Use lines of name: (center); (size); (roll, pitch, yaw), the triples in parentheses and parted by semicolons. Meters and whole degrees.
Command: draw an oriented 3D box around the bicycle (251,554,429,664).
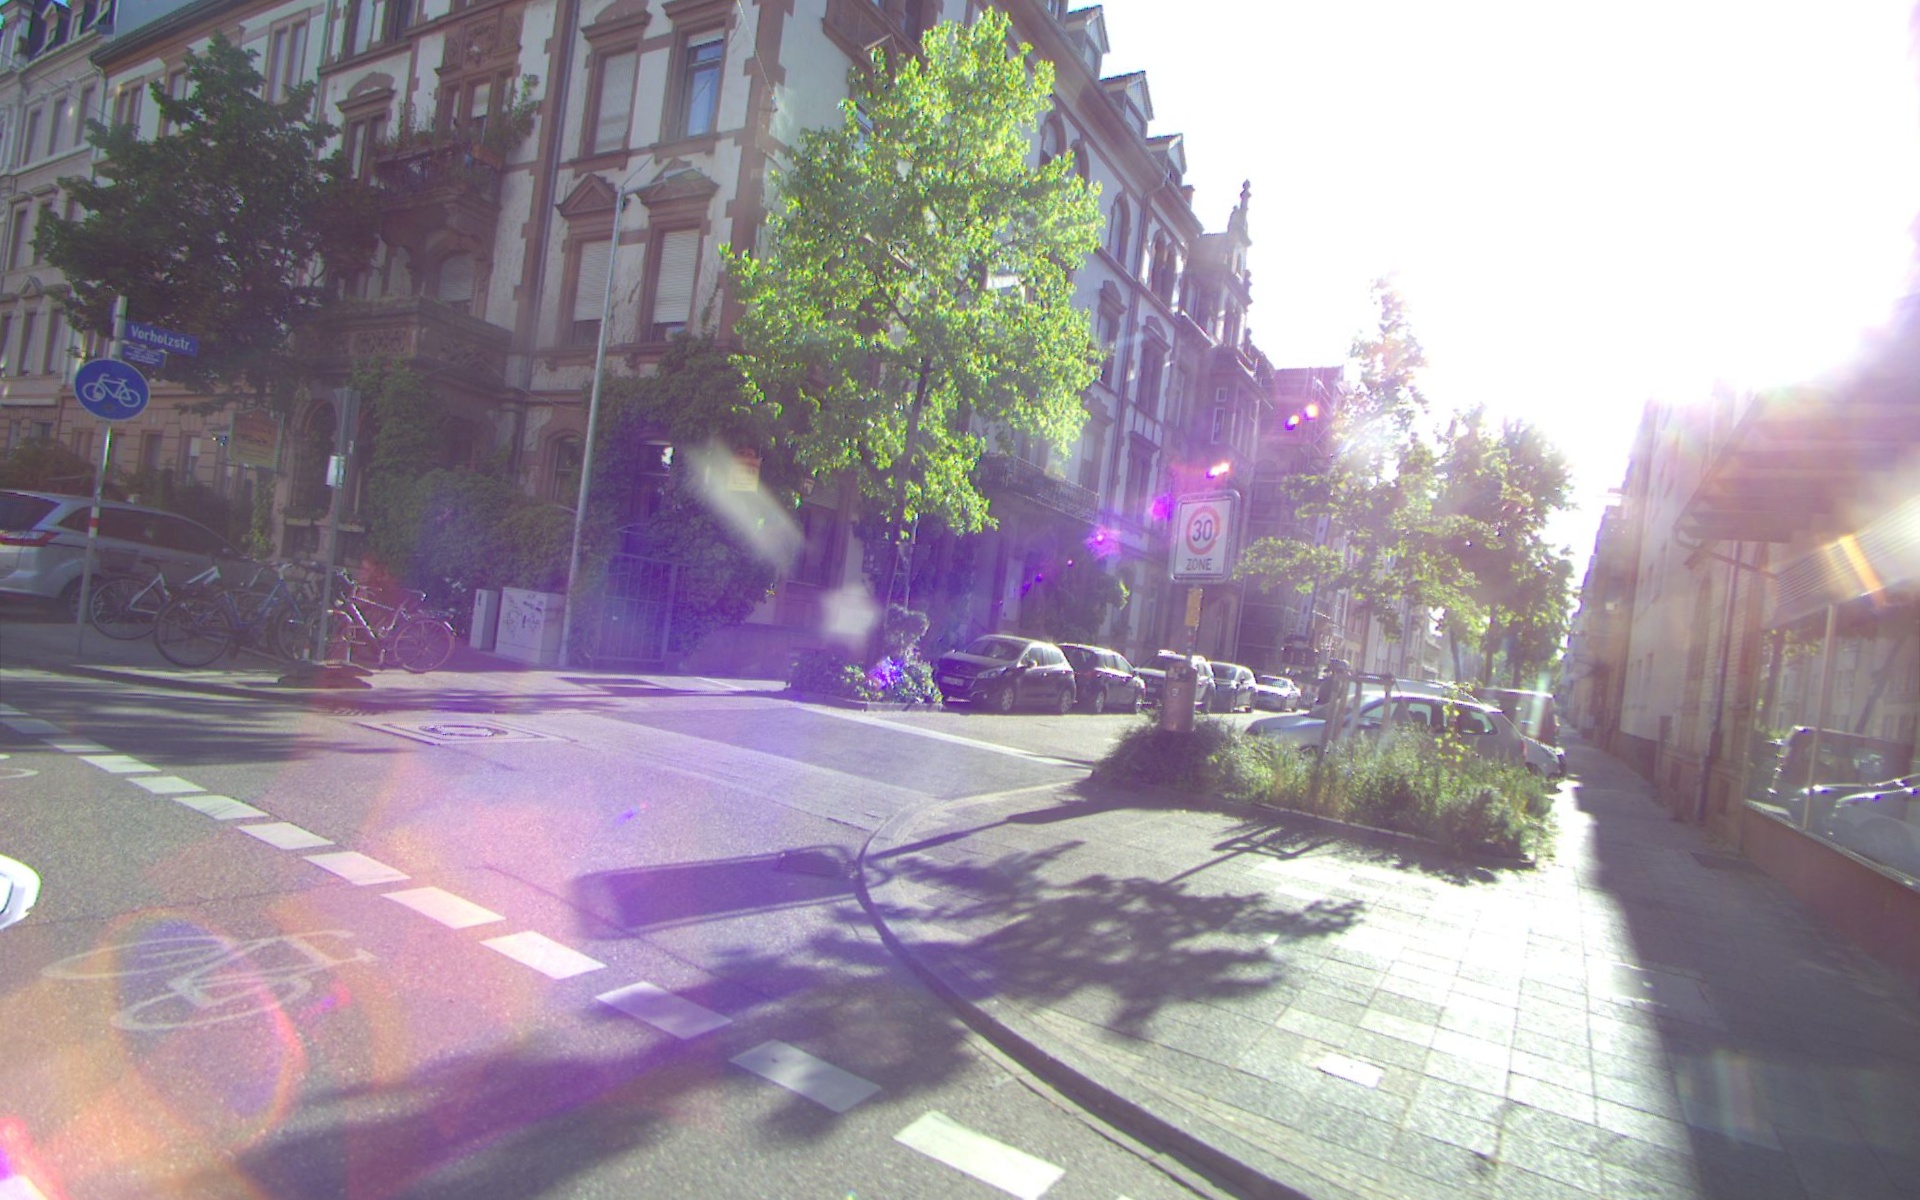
bicycle: (-7.592, 0.141, 12.390); (0.543, 1.140, 1.675); (6, -2, 37)

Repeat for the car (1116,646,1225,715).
car: (6.133, 2.358, 28.977); (1.684, 1.590, 3.995); (6, -3, 32)

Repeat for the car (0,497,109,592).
car: (-18.684, -1.219, 18.453); (2.006, 1.614, 4.338); (7, -2, 7)

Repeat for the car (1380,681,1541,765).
car: (14.656, 3.587, 29.713); (3.882, 1.815, 1.774); (7, -2, 20)

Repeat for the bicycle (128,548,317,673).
bicycle: (-7.721, 0.140, 10.594); (0.542, 1.140, 1.400); (7, -2, 31)

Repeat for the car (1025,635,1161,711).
car: (3.333, 1.839, 24.600); (1.684, 1.469, 3.995); (6, -3, 32)

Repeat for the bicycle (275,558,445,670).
bicycle: (-7.140, 0.195, 12.039); (0.520, 1.140, 1.557); (6, -2, 37)

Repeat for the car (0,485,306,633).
car: (-11.786, -0.509, 14.126); (1.818, 1.614, 4.372); (7, -2, 7)

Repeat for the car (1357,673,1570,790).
car: (11.101, 2.861, 22.493); (3.882, 1.917, 1.774); (7, -2, 20)

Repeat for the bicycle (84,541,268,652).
bicycle: (-9.055, -0.010, 11.678); (0.302, 1.091, 1.557); (6, -2, 37)

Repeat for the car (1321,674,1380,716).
car: (19.228, 4.679, 49.448); (1.685, 1.772, 3.992); (7, -1, 34)

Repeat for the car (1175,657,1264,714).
car: (8.760, 2.893, 33.753); (1.684, 1.590, 3.995); (4, -4, 32)

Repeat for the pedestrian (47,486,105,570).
pedestrian: (-18.747, -1.519, 21.334); (0.849, 1.667, 0.519); (7, -1, 32)

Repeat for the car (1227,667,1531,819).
car: (5.860, 1.976, 14.386); (3.466, 1.550, 1.774); (8, -2, 0)

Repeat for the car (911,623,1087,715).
car: (0.904, 1.456, 20.459); (1.684, 1.469, 3.995); (6, -3, 32)

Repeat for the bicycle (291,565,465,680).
bicycle: (-6.720, 0.284, 11.681); (0.543, 1.140, 1.557); (6, -2, 37)

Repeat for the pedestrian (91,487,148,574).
pedestrian: (-18.335, -1.518, 21.945); (0.849, 1.798, 0.519); (7, -1, 32)

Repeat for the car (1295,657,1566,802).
car: (7.983, 2.166, 17.322); (3.670, 1.851, 1.774); (8, -2, 0)

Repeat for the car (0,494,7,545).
car: (-22.656, -1.798, 20.684); (1.922, 1.614, 4.006); (7, -2, 7)

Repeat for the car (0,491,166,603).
car: (-16.113, -1.003, 16.589); (2.049, 1.614, 4.455); (7, -2, 7)

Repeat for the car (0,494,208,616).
car: (-14.136, -0.736, 15.337); (1.882, 1.554, 4.006); (7, -2, 7)

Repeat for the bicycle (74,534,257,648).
bicycle: (-9.327, -0.075, 11.873); (0.290, 1.140, 1.561); (6, -2, 37)

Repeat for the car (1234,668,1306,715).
car: (12.379, 3.666, 40.054); (1.684, 1.590, 3.995); (4, -4, 32)

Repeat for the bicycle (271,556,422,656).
bicycle: (-8.284, 0.102, 13.644); (0.543, 1.140, 1.557); (6, -2, 37)
